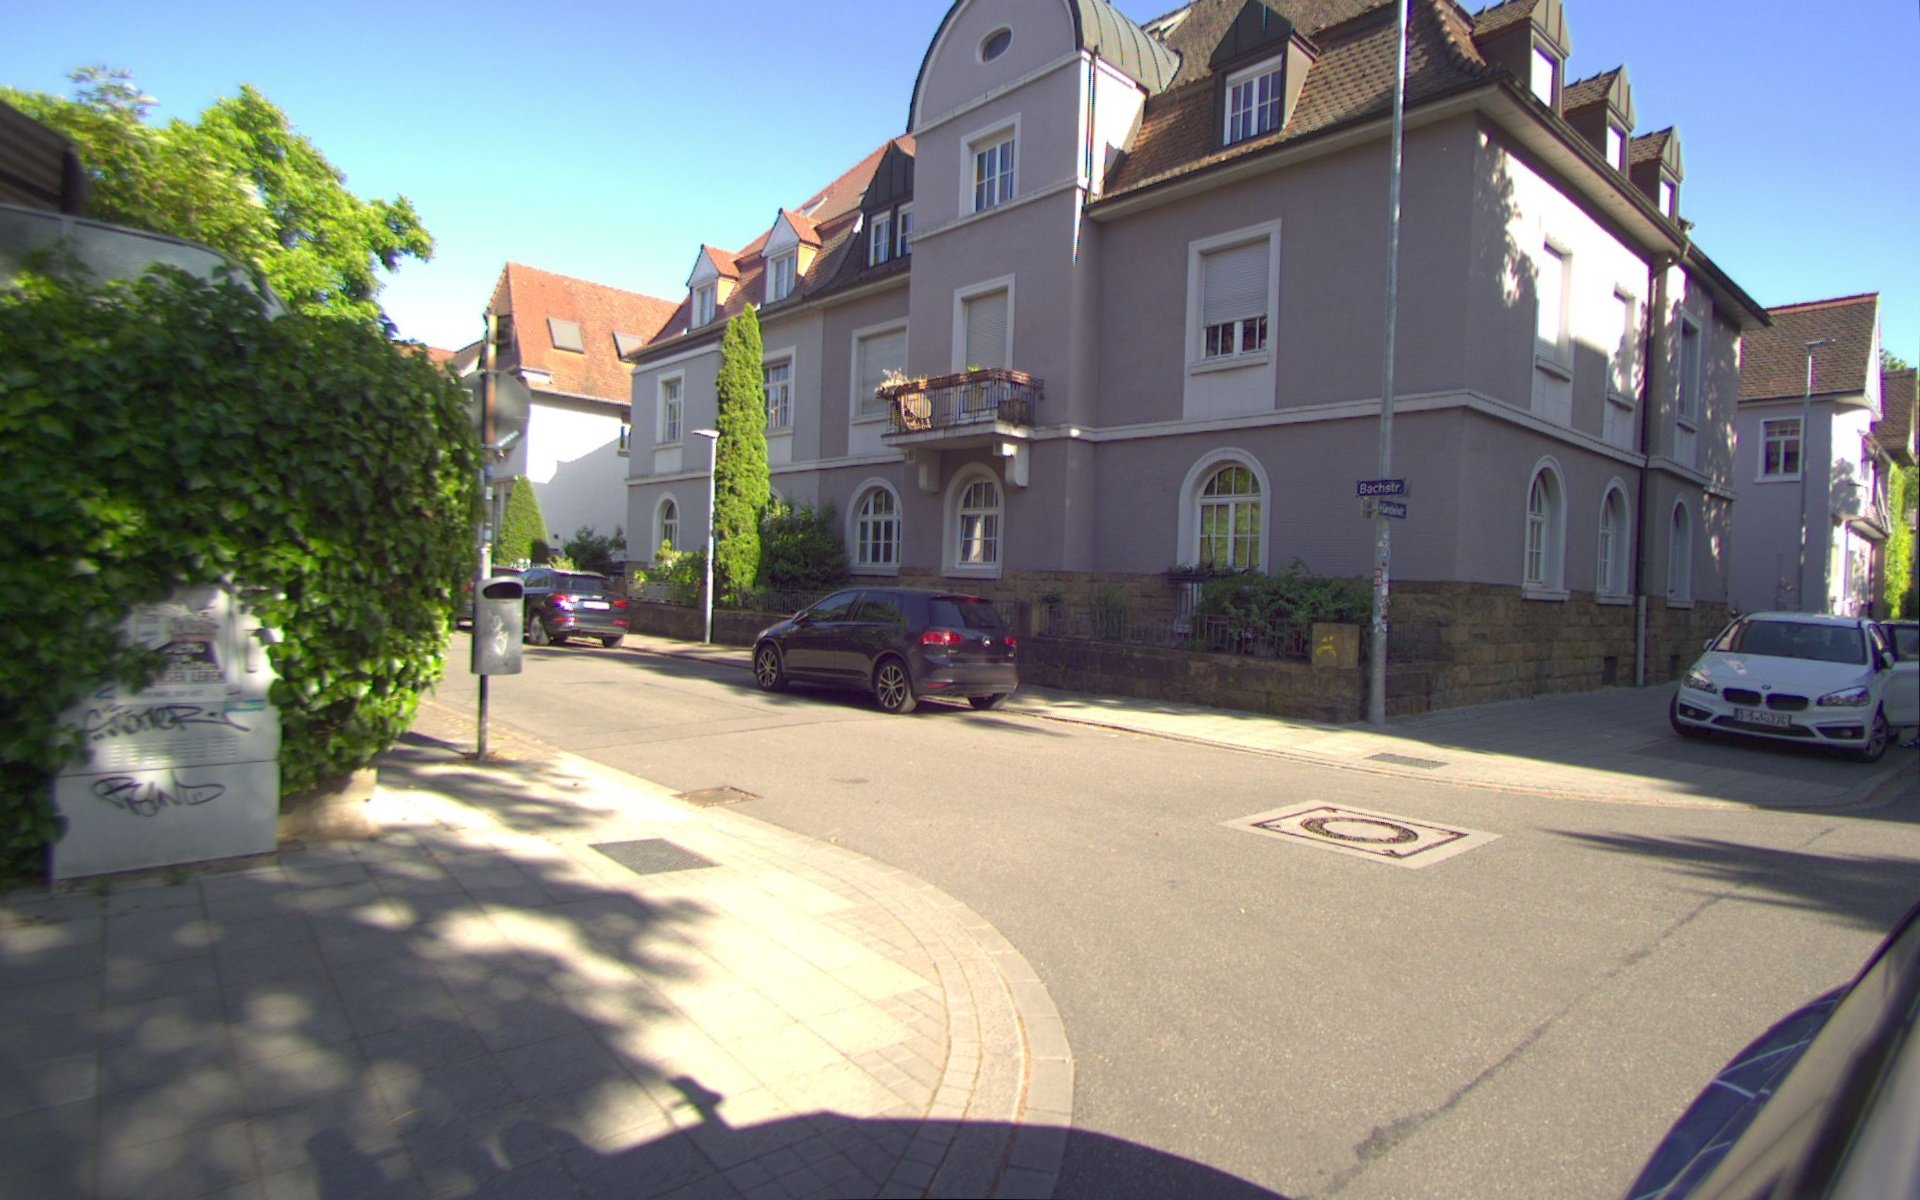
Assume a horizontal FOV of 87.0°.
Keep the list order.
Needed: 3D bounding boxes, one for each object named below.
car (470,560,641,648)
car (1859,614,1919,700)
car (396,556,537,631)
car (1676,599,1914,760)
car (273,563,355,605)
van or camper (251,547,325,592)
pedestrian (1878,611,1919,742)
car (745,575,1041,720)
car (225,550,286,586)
[{"bbox_3d":[-8.620,0.047,21.429,3.987,1.623,1.772,3,-1,43],"label":"car"},{"bbox_3d":[19.192,1.062,19.803,4.086,1.558,1.821,1,-1,-40],"label":"car"},{"bbox_3d":[-12.315,-0.186,25.139,3.987,1.623,1.772,3,-1,43],"label":"car"},{"bbox_3d":[10.276,0.824,12.344,4.038,1.574,1.811,1,1,-45],"label":"car"},{"bbox_3d":[-24.635,-0.611,38.564,3.987,1.393,1.637,3,-1,43],"label":"car"},{"bbox_3d":[-29.157,-1.284,43.887,1.967,1.863,3.989,-1,0,-44],"label":"van or camper"},{"bbox_3d":[11.576,0.926,12.293,0.528,1.547,0.299,2,1,31],"label":"pedestrian"},{"bbox_3d":[-0.974,0.507,12.935,1.715,1.474,3.798,3,0,-43],"label":"car"},{"bbox_3d":[-34.440,-1.523,49.417,1.817,1.638,3.989,-1,0,-44],"label":"car"}]
